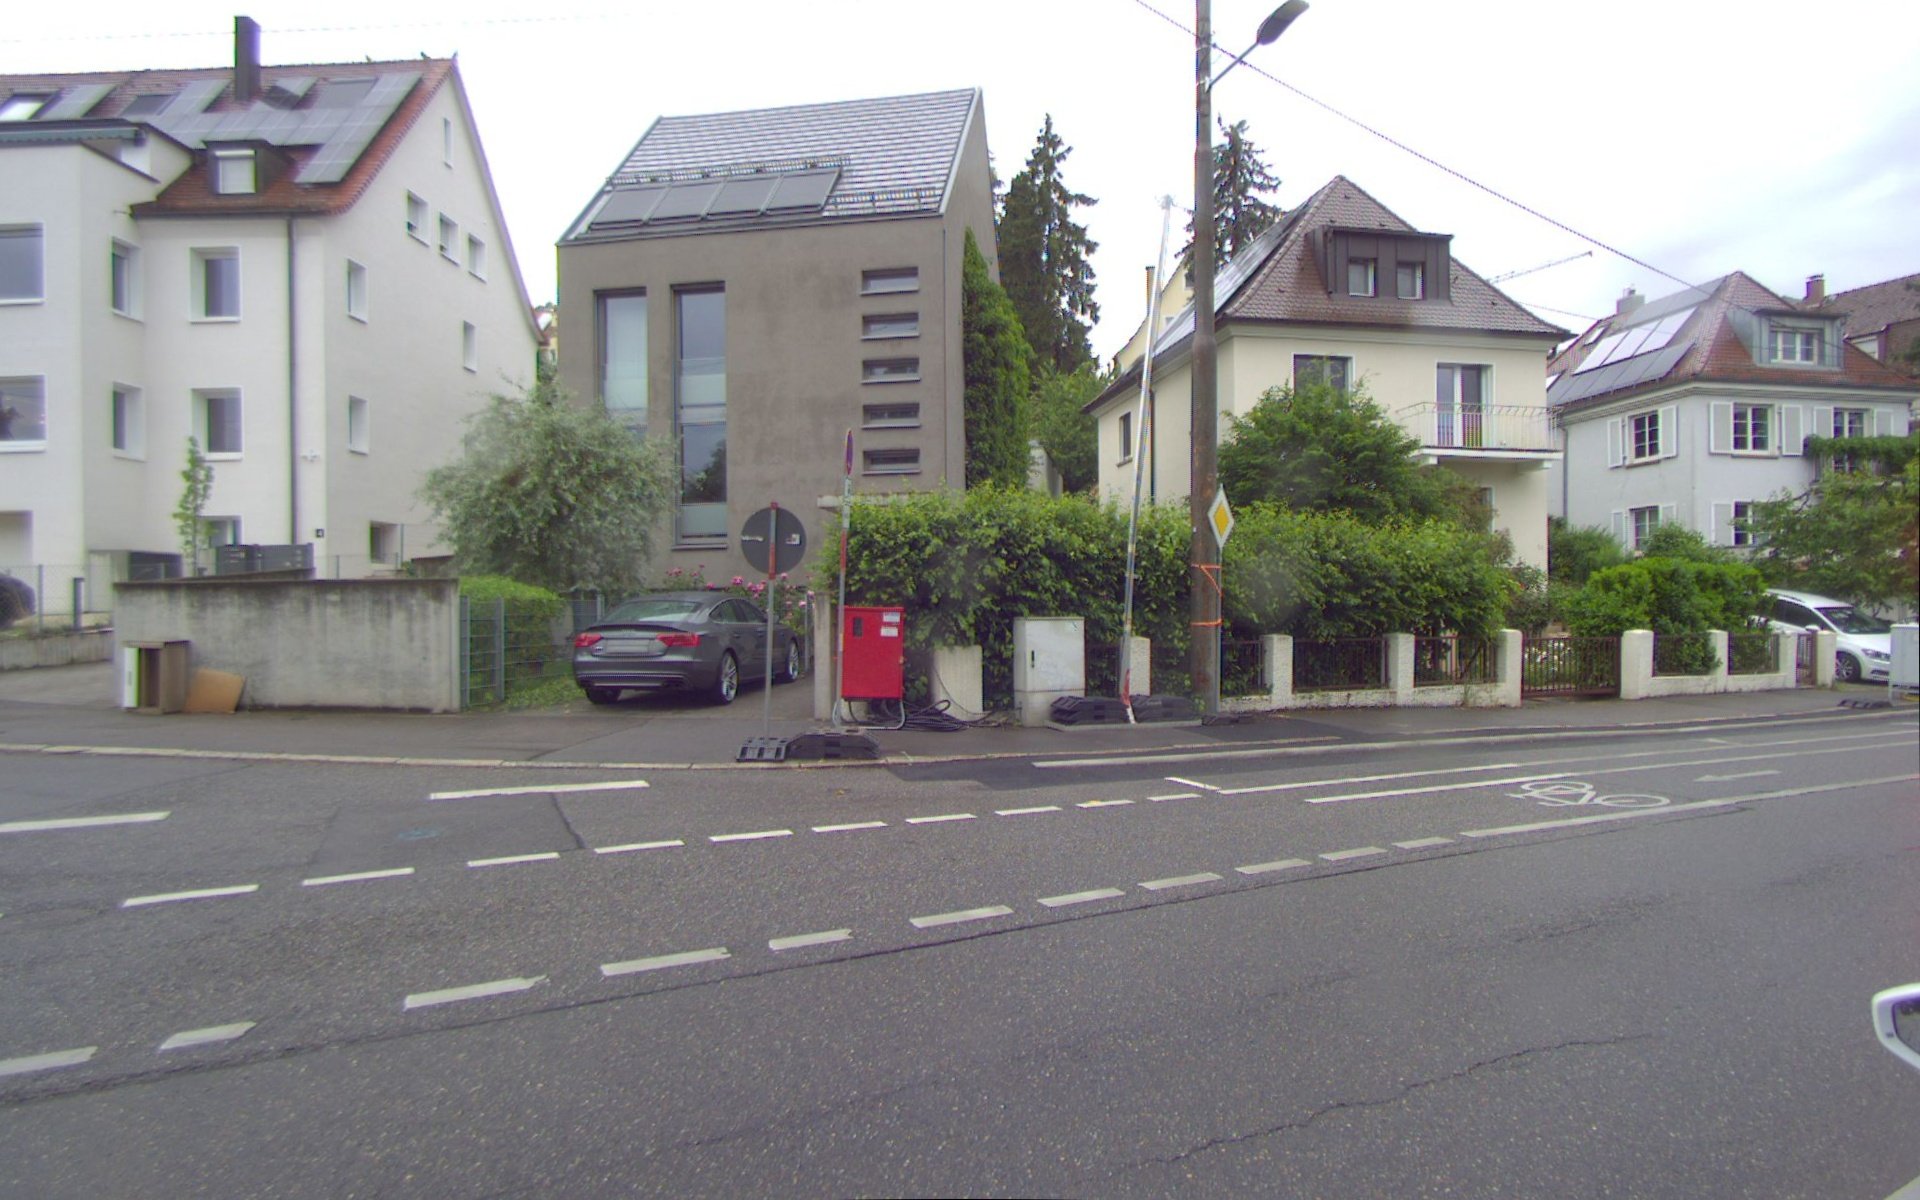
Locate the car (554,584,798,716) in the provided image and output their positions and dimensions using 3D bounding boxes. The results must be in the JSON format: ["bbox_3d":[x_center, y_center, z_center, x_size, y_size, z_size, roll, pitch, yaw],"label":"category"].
[{"bbox_3d":[-3.609,0.556,13.579,1.740,1.506,4.002,0,1,7],"label":"car"}]

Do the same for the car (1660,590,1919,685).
[{"bbox_3d":[19.595,0.806,23.916,1.870,2.033,4.628,1,0,-18],"label":"car"}]

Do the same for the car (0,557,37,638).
[{"bbox_3d":[-16.732,0.043,15.173,1.576,1.298,4.008,2,4,6],"label":"car"}]
